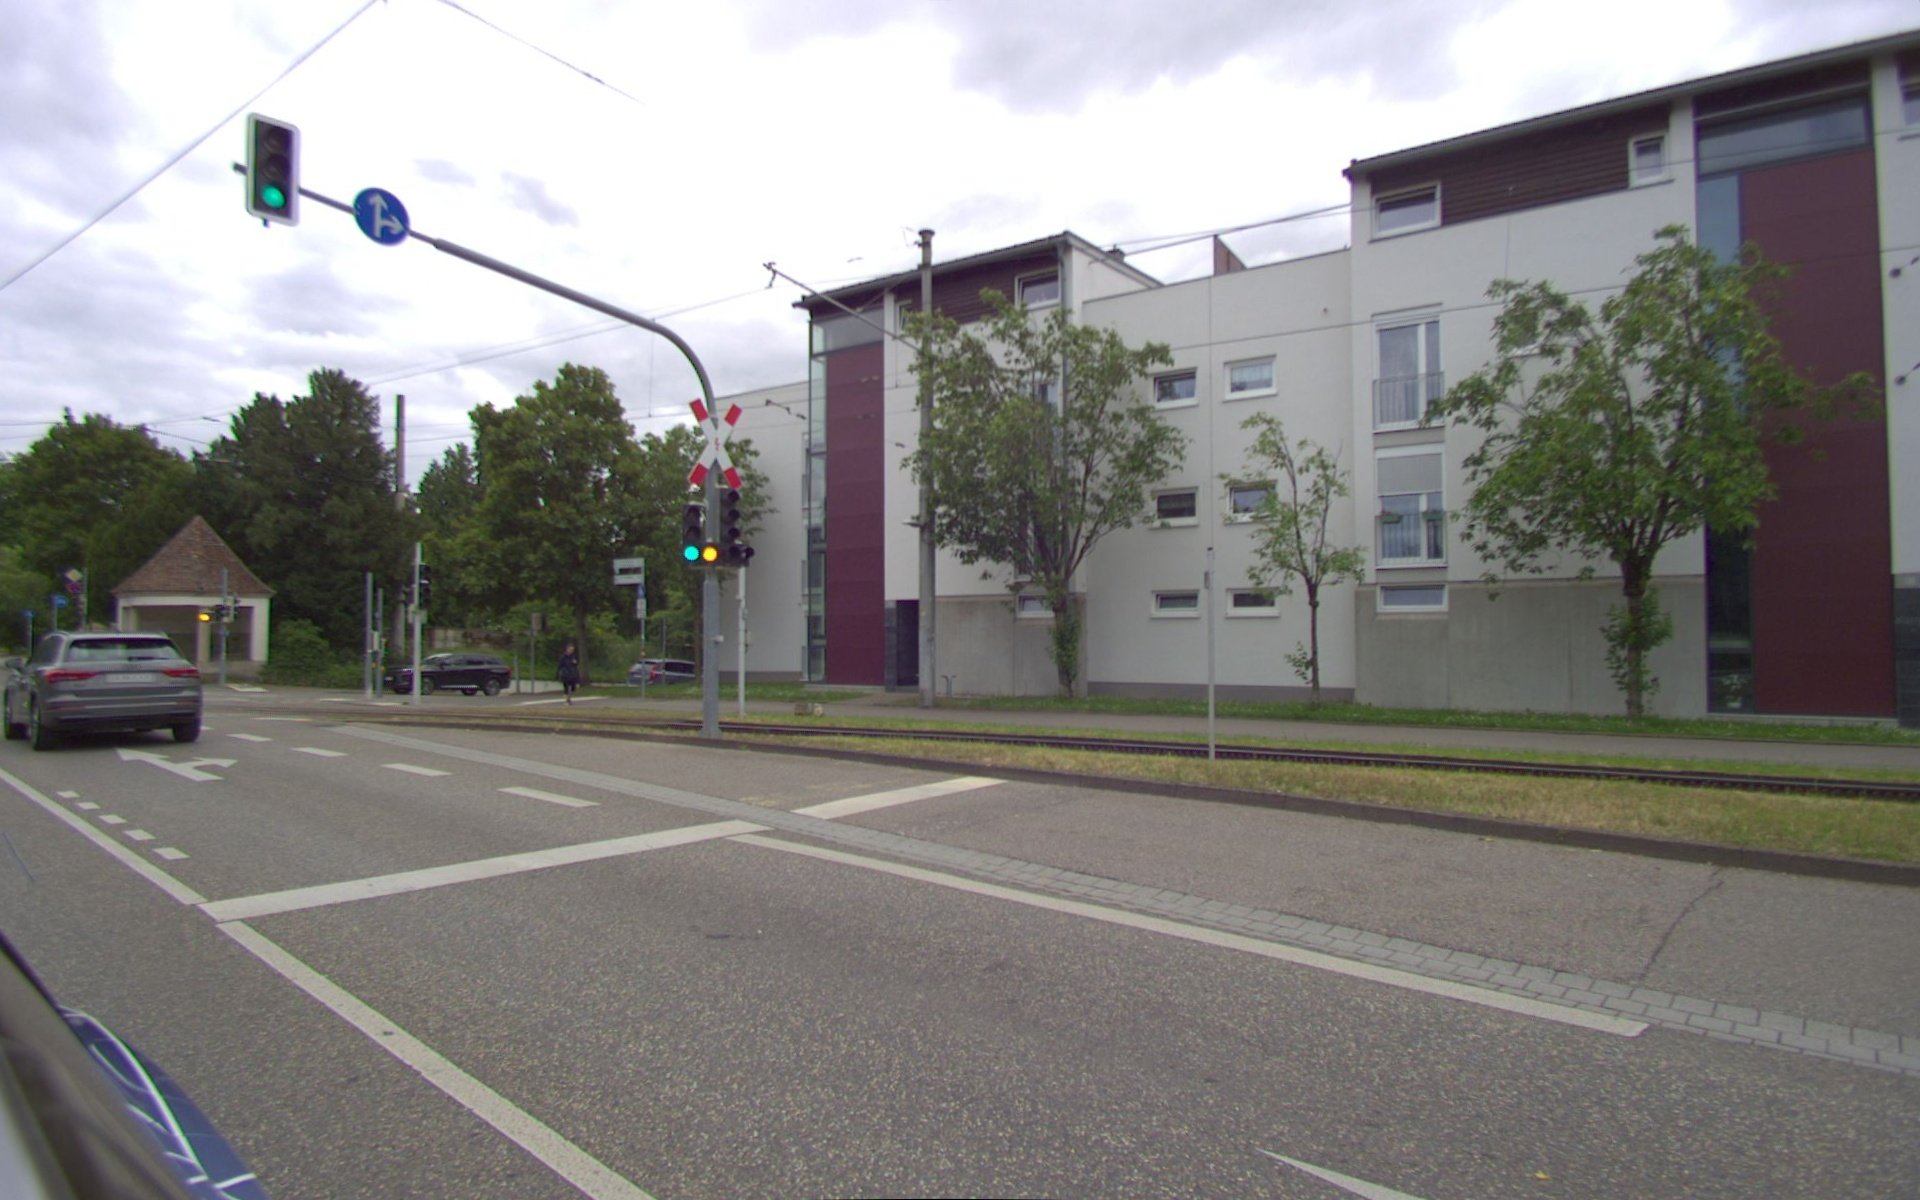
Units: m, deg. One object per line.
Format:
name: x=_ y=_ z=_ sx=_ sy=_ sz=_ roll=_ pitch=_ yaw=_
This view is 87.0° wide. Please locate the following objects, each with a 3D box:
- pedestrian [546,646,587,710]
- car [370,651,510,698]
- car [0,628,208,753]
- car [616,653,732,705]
pedestrian: x=-10.378 y=2.056 z=26.712 sx=0.817 sy=1.657 sz=0.669 roll=-4 pitch=-6 yaw=36
car: x=-20.362 y=2.954 z=39.810 sx=1.961 sy=1.682 sz=4.436 roll=-1 pitch=-6 yaw=34
car: x=-12.599 y=1.222 z=14.753 sx=4.181 sy=1.571 sz=1.721 roll=-2 pitch=-3 yaw=41
car: x=-12.058 y=3.387 z=42.958 sx=1.995 sy=2.029 sz=4.417 roll=-2 pitch=-6 yaw=35
